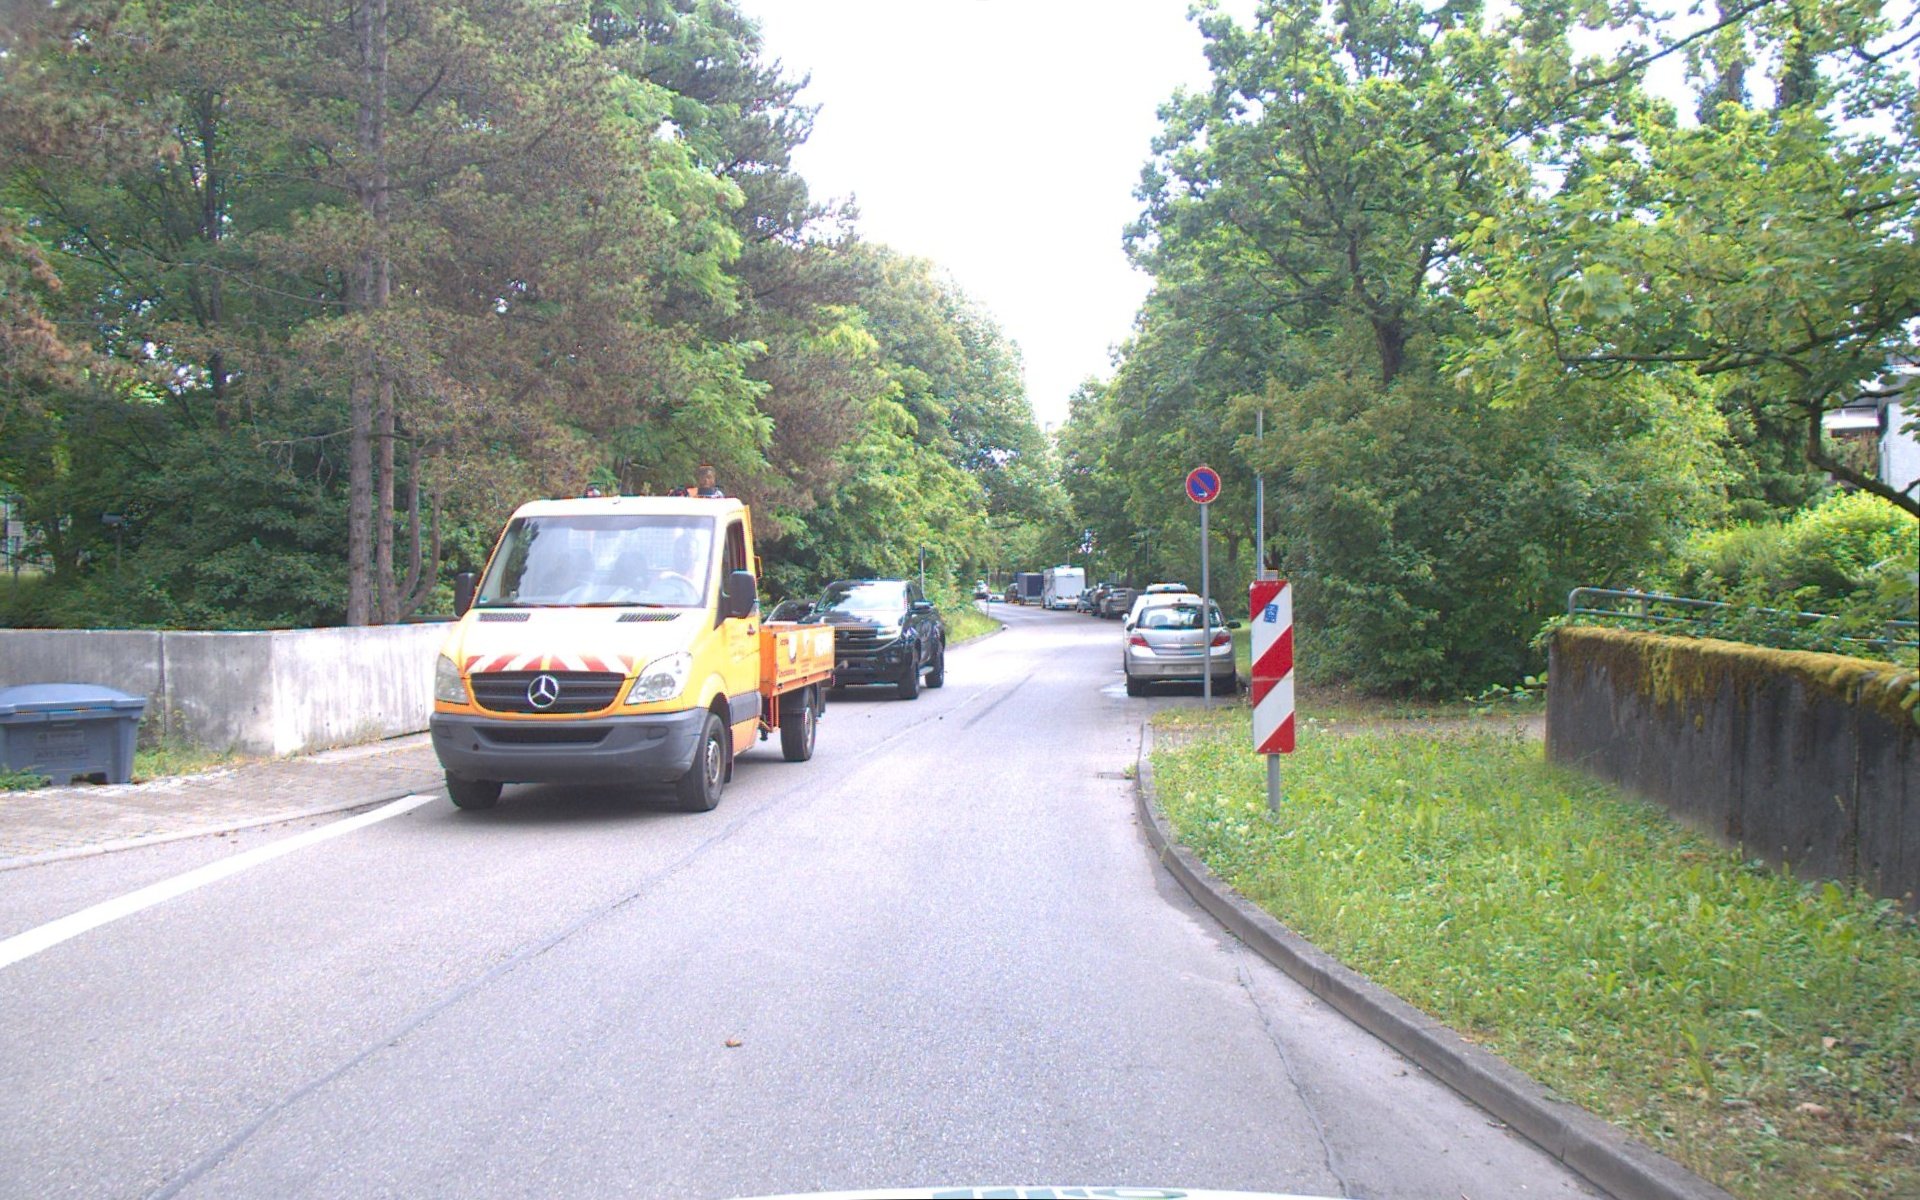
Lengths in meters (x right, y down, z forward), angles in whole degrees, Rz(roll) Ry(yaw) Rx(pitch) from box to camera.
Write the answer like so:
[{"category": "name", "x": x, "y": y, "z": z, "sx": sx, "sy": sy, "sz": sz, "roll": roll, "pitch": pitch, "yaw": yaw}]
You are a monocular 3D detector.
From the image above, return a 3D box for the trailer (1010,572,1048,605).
[{"category": "trailer", "x": 5.329, "y": -0.903, "z": 128.252, "sx": 1.960, "sy": 2.440, "sz": 3.986, "roll": -1, "pitch": 0, "yaw": -14}]

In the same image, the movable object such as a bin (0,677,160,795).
[{"category": "movable object such as a bin", "x": -6.512, "y": 0.969, "z": 12.049, "sx": 1.132, "sy": 0.773, "sz": 1.038, "roll": 2, "pitch": -1, "yaw": -32}]

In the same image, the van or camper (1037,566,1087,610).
[{"category": "van or camper", "x": 7.214, "y": -0.847, "z": 117.395, "sx": 2.434, "sy": 2.926, "sz": 6.881, "roll": -1, "pitch": 0, "yaw": -6}]

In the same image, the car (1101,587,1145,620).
[{"category": "car", "x": 8.974, "y": 0.211, "z": 91.553, "sx": 1.756, "sy": 1.699, "sz": 4.499, "roll": -1, "pitch": -1, "yaw": -3}]

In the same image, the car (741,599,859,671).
[{"category": "car", "x": -3.422, "y": 0.711, "z": 36.103, "sx": 1.767, "sy": 1.427, "sz": 4.375, "roll": 1, "pitch": 0, "yaw": 5}]

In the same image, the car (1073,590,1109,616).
[{"category": "car", "x": 8.466, "y": 0.172, "z": 107.109, "sx": 1.764, "sy": 1.589, "sz": 3.832, "roll": -2, "pitch": 1, "yaw": -4}]

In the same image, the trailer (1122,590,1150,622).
[{"category": "trailer", "x": 9.071, "y": 0.312, "z": 85.254, "sx": 1.252, "sy": 1.612, "sz": 2.461, "roll": -1, "pitch": 0, "yaw": 2}]

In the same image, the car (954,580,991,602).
[{"category": "car", "x": 1.123, "y": -0.808, "z": 146.657, "sx": 2.004, "sy": 1.835, "sz": 4.061, "roll": -2, "pitch": 1, "yaw": -19}]

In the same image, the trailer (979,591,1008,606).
[{"category": "trailer", "x": 2.773, "y": -0.124, "z": 137.502, "sx": 1.623, "sy": 1.105, "sz": 3.989, "roll": -3, "pitch": 1, "yaw": -11}]

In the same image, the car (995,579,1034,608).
[{"category": "car", "x": 4.395, "y": -0.548, "z": 133.676, "sx": 1.961, "sy": 2.060, "sz": 3.985, "roll": -4, "pitch": 3, "yaw": -14}]

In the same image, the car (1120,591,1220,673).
[{"category": "car", "x": 4.252, "y": 0.598, "z": 33.988, "sx": 1.846, "sy": 1.533, "sz": 5.179, "roll": -1, "pitch": 0, "yaw": 6}]

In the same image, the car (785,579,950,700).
[{"category": "car", "x": -1.380, "y": 0.585, "z": 27.054, "sx": 1.951, "sy": 1.766, "sz": 5.340, "roll": -1, "pitch": 0, "yaw": 5}]

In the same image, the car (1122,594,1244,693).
[{"category": "car", "x": 3.567, "y": 0.644, "z": 26.569, "sx": 1.754, "sy": 1.435, "sz": 4.062, "roll": -1, "pitch": 0, "yaw": 7}]

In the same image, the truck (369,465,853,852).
[{"category": "truck", "x": -2.521, "y": 0.347, "z": 13.957, "sx": 2.273, "sy": 2.513, "sz": 6.024, "roll": 1, "pitch": 1, "yaw": 5}]

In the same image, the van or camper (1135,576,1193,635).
[{"category": "van or camper", "x": 6.809, "y": 0.214, "z": 55.529, "sx": 1.764, "sy": 1.870, "sz": 4.323, "roll": -1, "pitch": -1, "yaw": 5}]

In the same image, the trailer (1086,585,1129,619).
[{"category": "trailer", "x": 8.681, "y": 0.110, "z": 97.790, "sx": 1.939, "sy": 1.843, "sz": 5.148, "roll": -2, "pitch": 1, "yaw": -1}]
